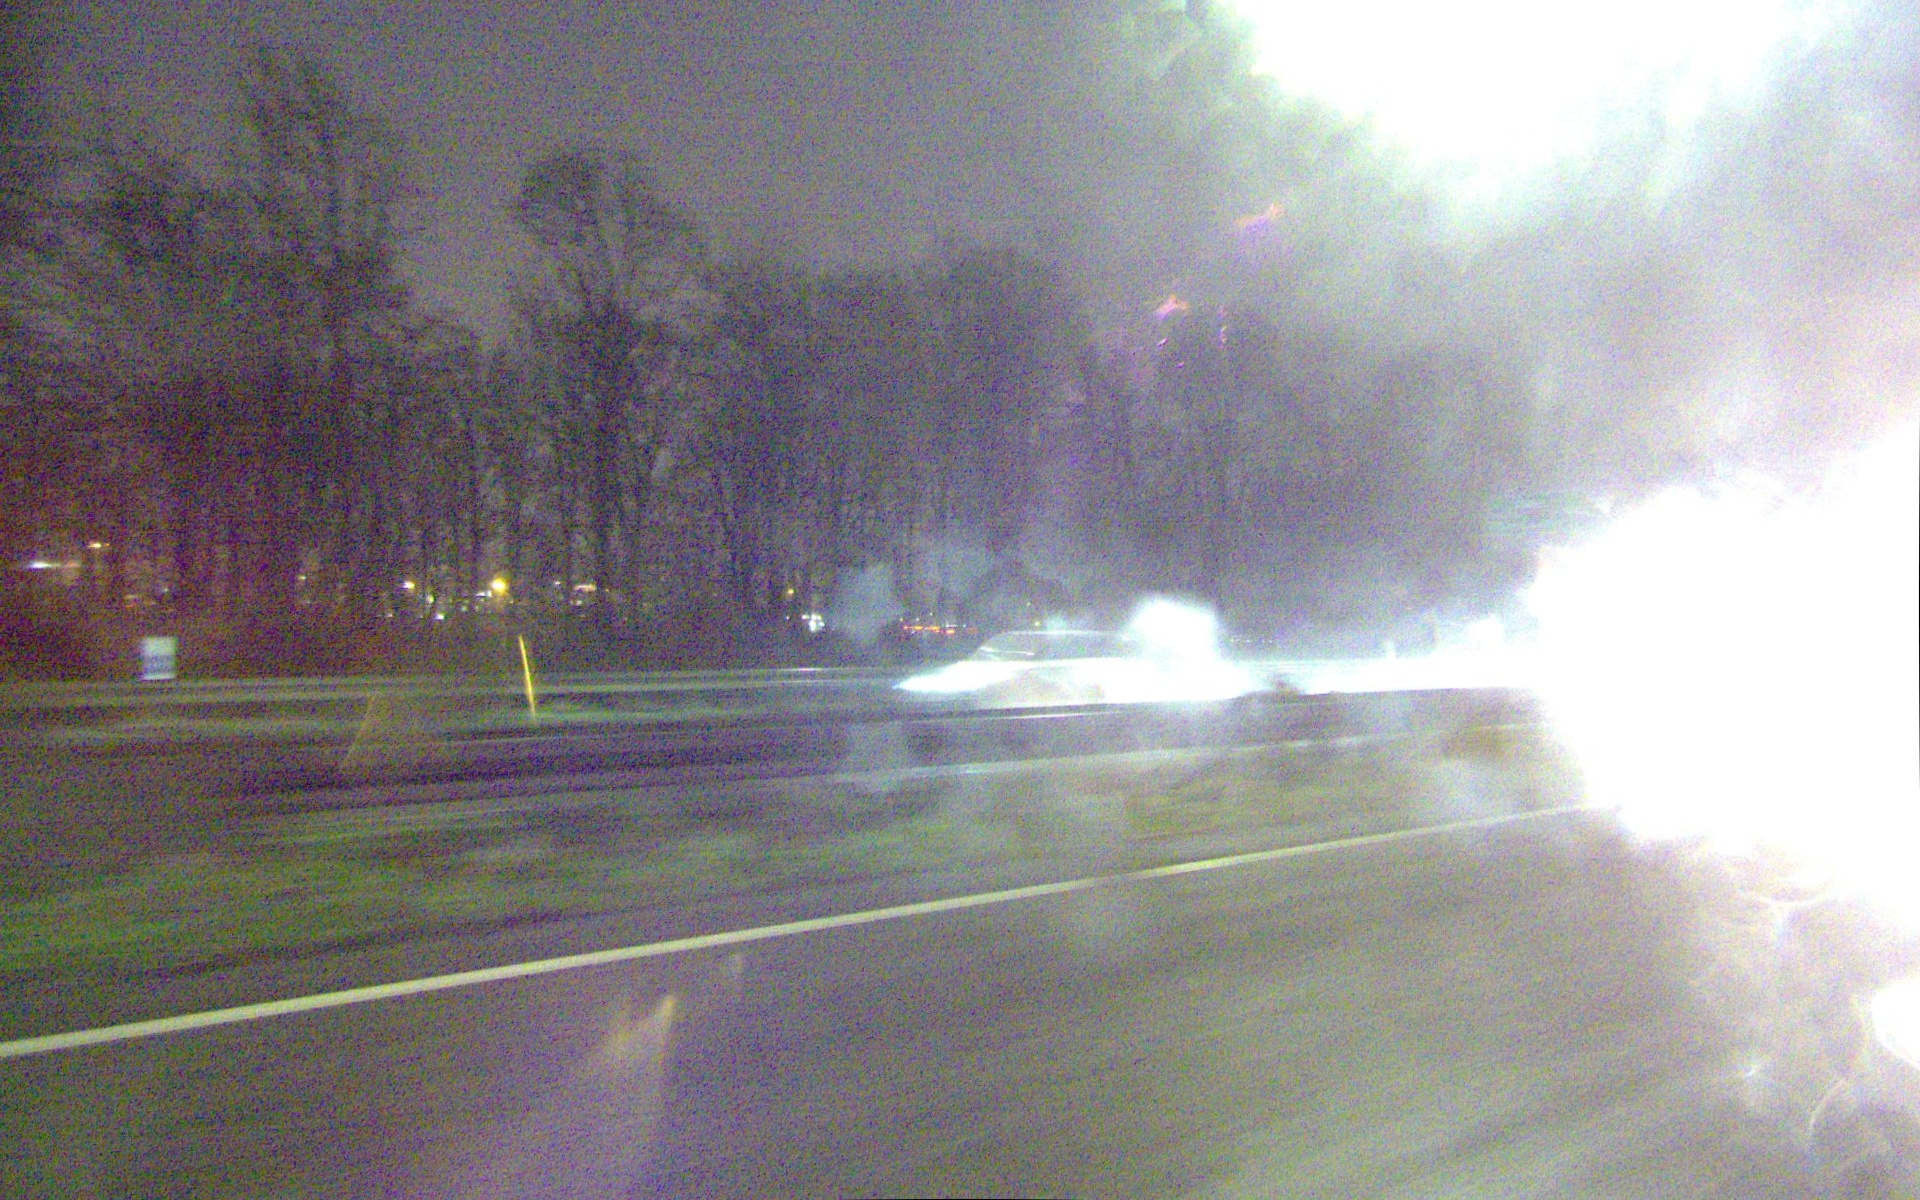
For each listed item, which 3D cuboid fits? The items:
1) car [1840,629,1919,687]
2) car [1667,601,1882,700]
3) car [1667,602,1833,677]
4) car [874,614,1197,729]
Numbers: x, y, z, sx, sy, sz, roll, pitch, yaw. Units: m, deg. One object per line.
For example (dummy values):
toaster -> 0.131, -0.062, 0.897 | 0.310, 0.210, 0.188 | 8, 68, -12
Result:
car -> 32.599, 2.003, 34.696 | 4.652, 1.798, 1.983 | 3, 1, -31
car -> 17.065, 1.041, 20.996 | 4.652, 1.798, 1.983 | 3, 1, -31
car -> 21.466, 1.079, 27.251 | 4.652, 1.798, 1.983 | 3, 1, -31
car -> 1.257, 1.108, 16.068 | 4.840, 1.522, 2.013 | 3, 1, -30
